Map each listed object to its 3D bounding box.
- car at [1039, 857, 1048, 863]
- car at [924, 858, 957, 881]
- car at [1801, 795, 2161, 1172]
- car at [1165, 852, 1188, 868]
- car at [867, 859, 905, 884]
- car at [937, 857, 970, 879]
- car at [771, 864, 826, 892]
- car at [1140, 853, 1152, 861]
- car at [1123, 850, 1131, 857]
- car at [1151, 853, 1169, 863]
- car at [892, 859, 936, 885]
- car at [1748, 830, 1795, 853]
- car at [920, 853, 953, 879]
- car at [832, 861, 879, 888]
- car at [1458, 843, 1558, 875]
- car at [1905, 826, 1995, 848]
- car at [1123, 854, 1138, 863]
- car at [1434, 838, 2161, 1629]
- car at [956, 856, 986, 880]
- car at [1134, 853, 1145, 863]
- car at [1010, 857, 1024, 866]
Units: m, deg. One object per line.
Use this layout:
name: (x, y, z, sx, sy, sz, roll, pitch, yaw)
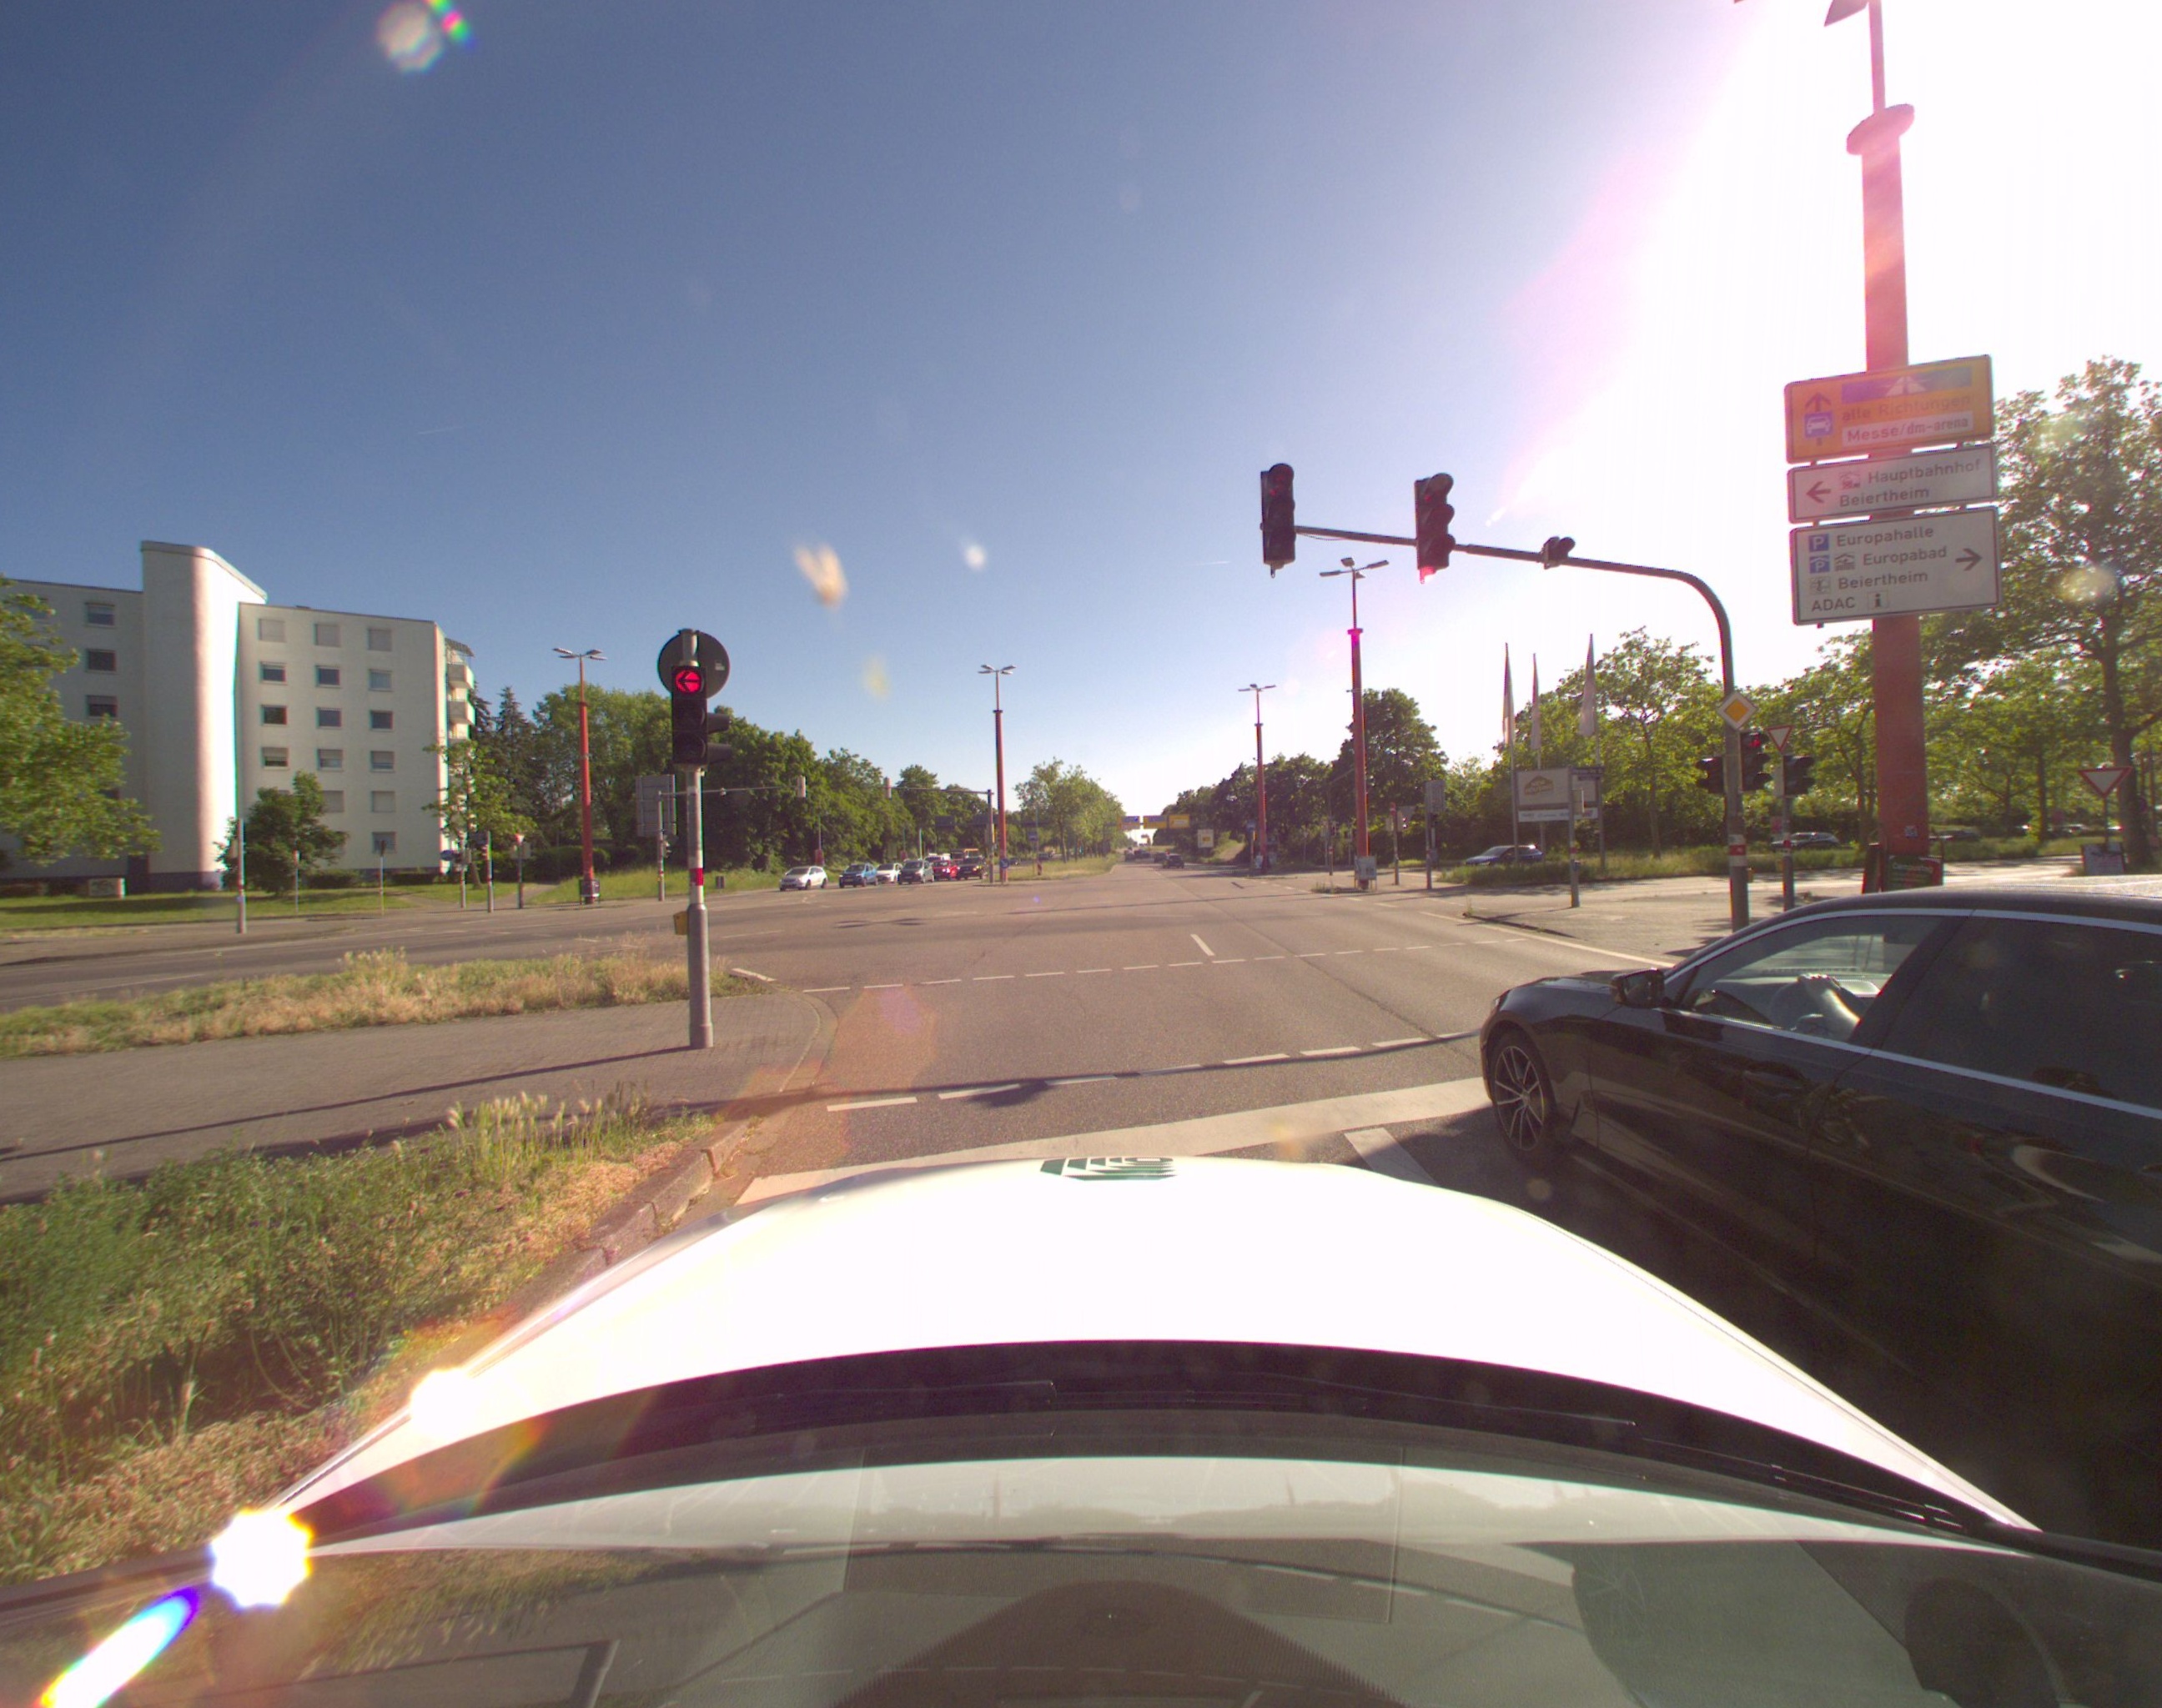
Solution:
car: (-8.918, 1.364, 195.625, 1.877, 1.454, 3.658, -2, 0, 2)
car: (-10.103, 1.082, 58.870, 1.991, 1.573, 4.112, -2, 0, -6)
car: (5.797, 0.565, 3.260, 1.959, 1.686, 4.479, -1, 0, 2)
car: (10.007, 0.601, 85.796, 2.149, 1.573, 4.285, -2, 0, 4)
car: (-13.739, 1.220, 57.522, 1.991, 1.573, 4.112, -3, 0, -6)
car: (-10.066, 1.096, 64.652, 1.988, 1.573, 4.118, -2, 0, -1)
car: (-17.694, 1.471, 51.180, 1.987, 1.573, 4.120, -2, 0, 0)
car: (14.314, 0.682, 180.263, 2.153, 1.573, 4.277, -2, 0, -2)
car: (12.577, -0.146, 223.799, 1.986, 2.013, 4.002, -2, 0, 2)
car: (12.510, 0.619, 129.143, 2.153, 1.573, 4.277, -2, 0, -2)
car: (-10.731, 1.130, 52.579, 1.988, 1.573, 4.119, -2, 0, -1)
car: (51.319, -0.928, 60.586, 2.138, 1.573, 4.612, -2, 0, 34)
car: (-12.735, 1.056, 71.985, 2.055, 2.193, 4.377, -2, 0, 0)
car: (-14.237, 1.288, 51.640, 1.989, 1.573, 4.116, -2, 0, -3)
car: (21.159, 0.223, 40.374, 4.276, 1.428, 1.874, -2, 0, -16)
car: (66.797, -1.284, 62.684, 4.238, 1.573, 2.173, -2, 0, 12)
car: (8.926, 0.774, 147.377, 2.241, 1.573, 4.276, -2, 0, -3)
car: (2.950, 0.670, 2.372, 1.986, 1.394, 4.479, -2, 0, 2)
car: (-7.567, 0.942, 56.488, 1.874, 1.573, 4.112, -2, 0, -6)
car: (11.774, 0.802, 164.820, 1.986, 2.013, 4.002, -2, 0, 2)
car: (-11.550, 1.282, 147.172, 1.985, 1.573, 4.123, -2, 0, 2)
